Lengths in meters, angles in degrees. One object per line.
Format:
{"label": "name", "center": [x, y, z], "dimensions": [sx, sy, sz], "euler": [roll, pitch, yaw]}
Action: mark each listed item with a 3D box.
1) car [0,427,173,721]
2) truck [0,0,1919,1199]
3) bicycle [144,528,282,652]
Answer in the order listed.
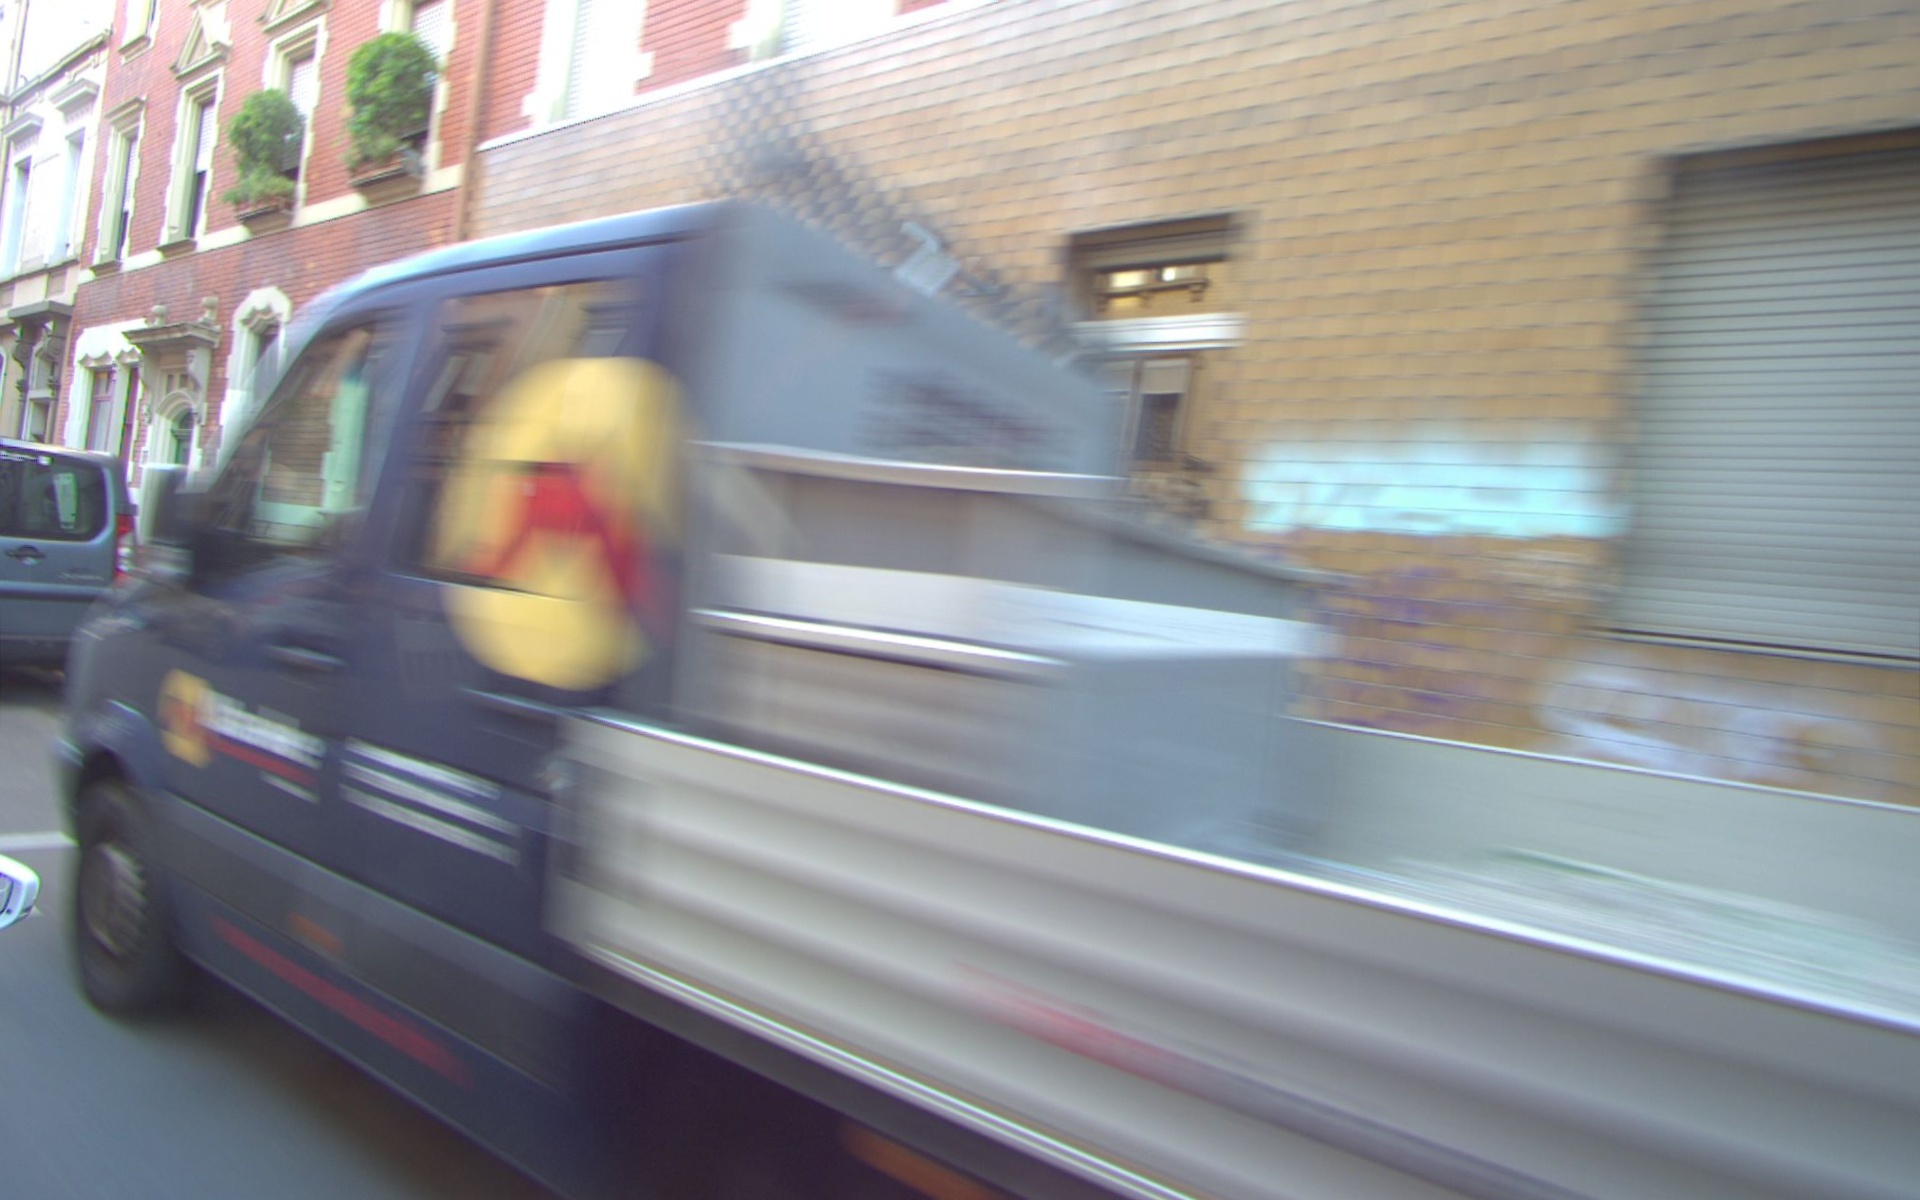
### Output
{"label": "car", "center": [-8.522, -0.401, 8.219], "dimensions": [4.503, 2.006, 1.848], "euler": [7, -3, 35]}
{"label": "truck", "center": [-0.339, 0.211, 2.808], "dimensions": [6.151, 2.694, 2.147], "euler": [7, 4, 32]}
{"label": "bicycle", "center": [-8.633, -0.135, 11.599], "dimensions": [1.961, 1.239, 0.667], "euler": [6, 2, 36]}
